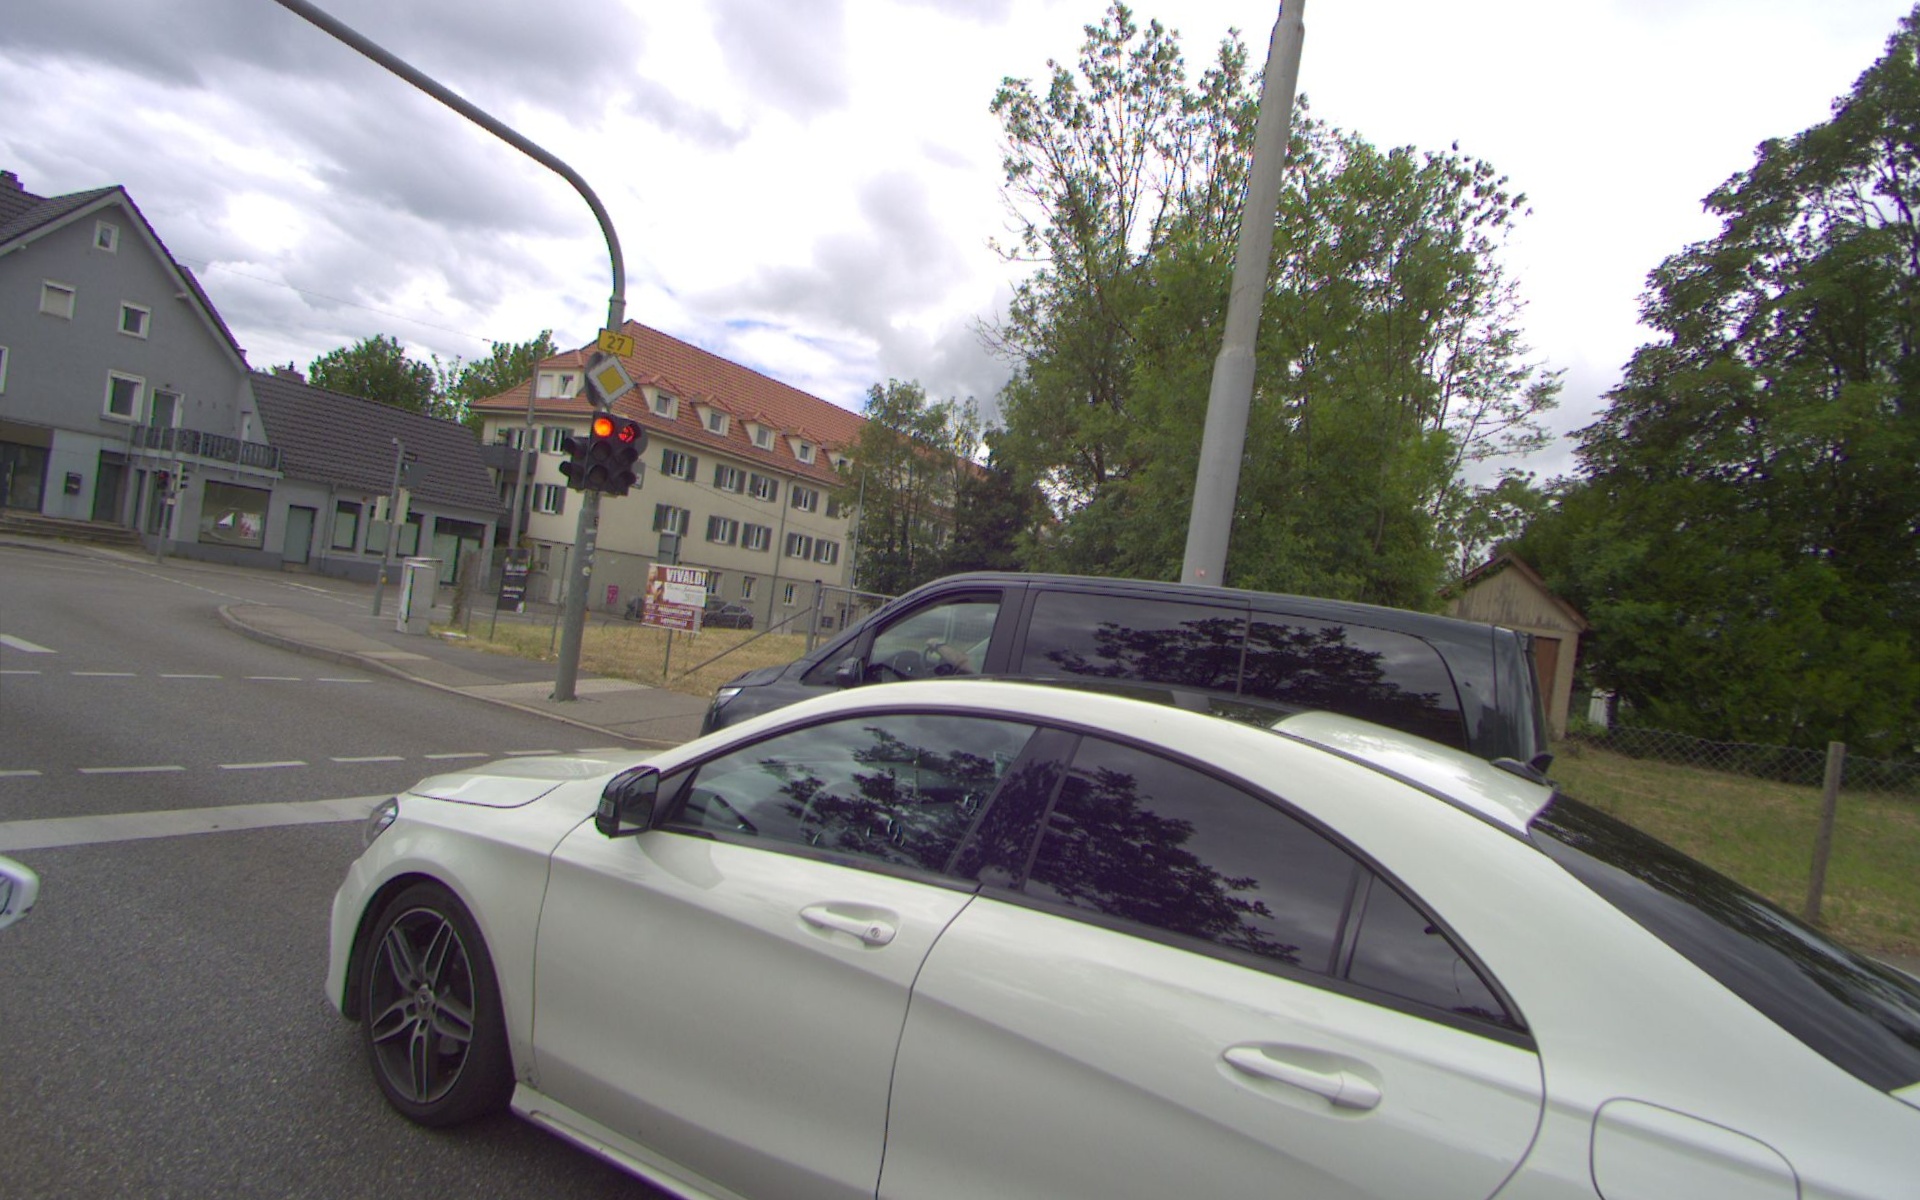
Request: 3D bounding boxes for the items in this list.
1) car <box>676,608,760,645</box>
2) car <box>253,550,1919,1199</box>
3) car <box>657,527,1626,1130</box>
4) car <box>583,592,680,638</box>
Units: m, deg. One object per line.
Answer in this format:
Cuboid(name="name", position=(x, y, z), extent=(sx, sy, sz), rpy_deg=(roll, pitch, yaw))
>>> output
Cuboid(name="car", position=(-12.628, 1.398, 52.652), extent=(1.839, 1.393, 3.996), rpy_deg=(7, -2, 32))
Cuboid(name="car", position=(0.154, 0.846, 2.642), extent=(4.305, 1.451, 1.651), rpy_deg=(7, 0, 32))
Cuboid(name="car", position=(0.775, 0.821, 5.606), extent=(4.631, 1.860, 1.953), rpy_deg=(7, -2, 32))
Cuboid(name="car", position=(-15.523, 0.736, 47.663), extent=(1.839, 1.554, 3.996), rpy_deg=(7, -2, 32))
